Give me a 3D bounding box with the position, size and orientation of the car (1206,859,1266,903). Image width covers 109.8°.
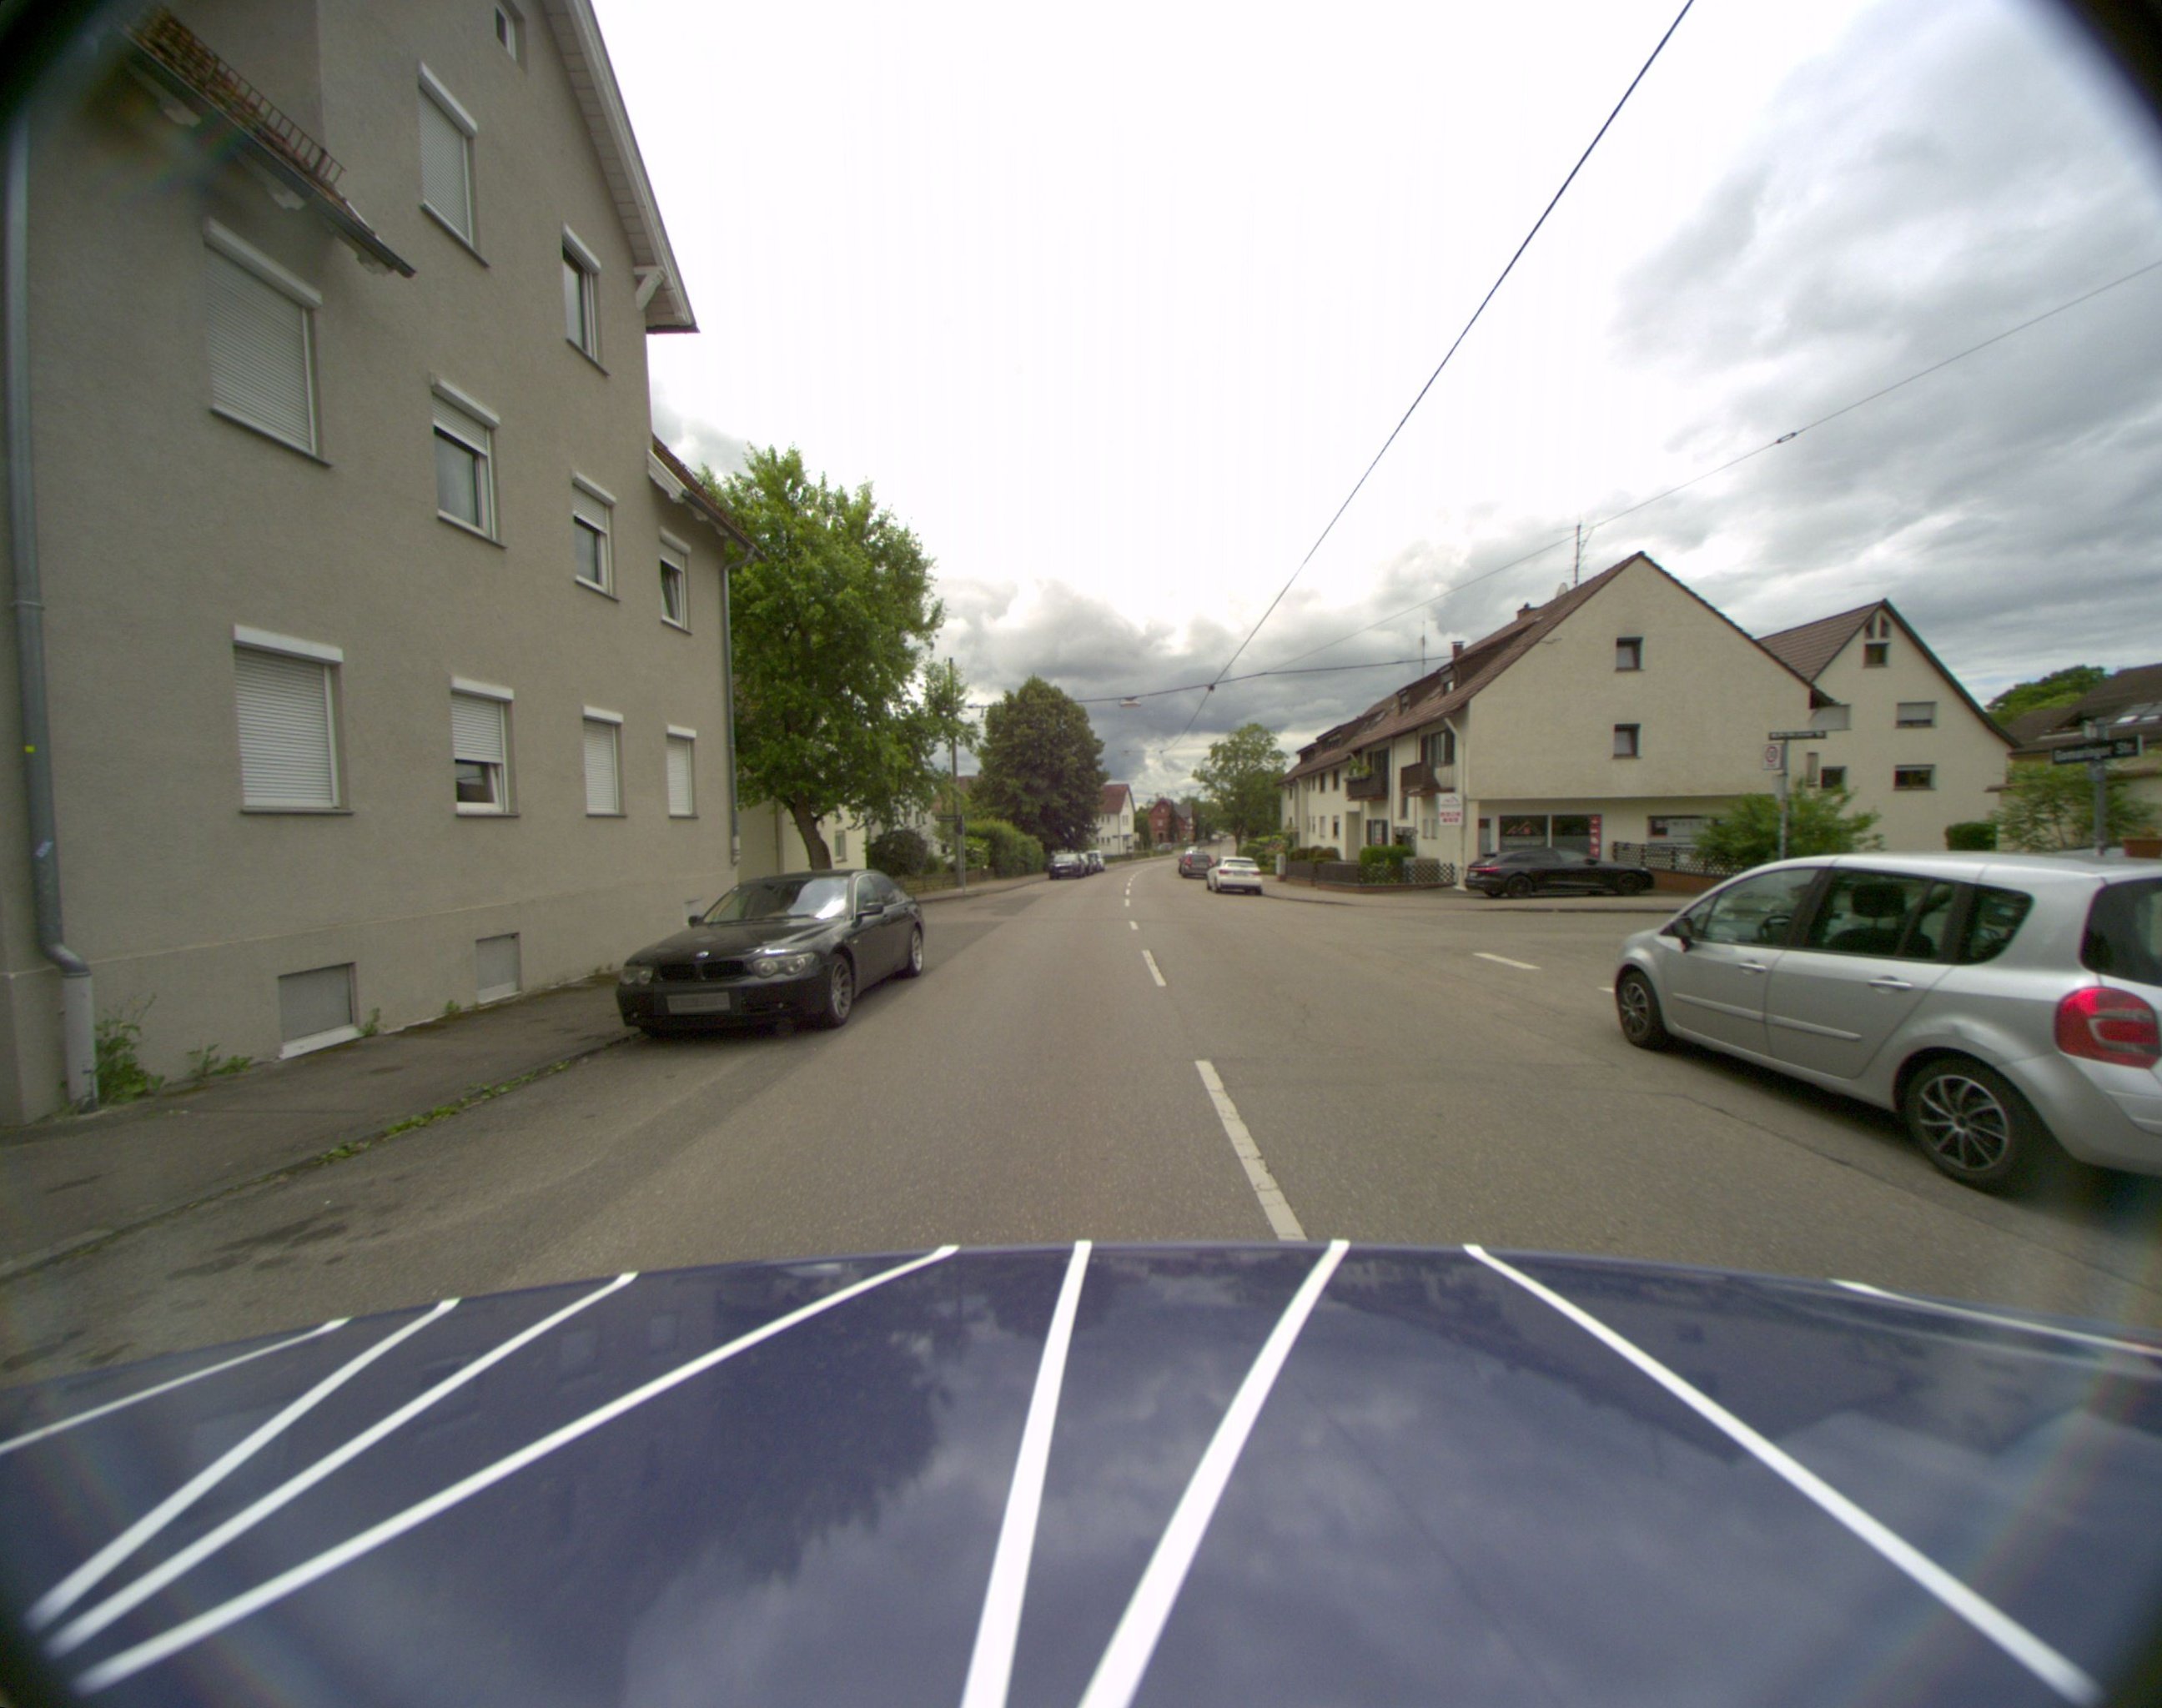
[{"bbox_3d":[5.985,1.008,29.721,1.730,1.450,3.899,3,1,4],"label":"car"}]

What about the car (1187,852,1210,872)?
[{"bbox_3d":[10.950,0.696,70.744,1.852,1.704,4.578,1,1,11],"label":"car"}]

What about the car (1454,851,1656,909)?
[{"bbox_3d":[13.586,0.725,22.028,4.527,1.464,2.001,-2,0,6],"label":"car"}]

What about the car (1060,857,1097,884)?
[{"bbox_3d":[-0.130,1.072,51.530,1.998,1.606,4.540,-2,1,6],"label":"car"}]

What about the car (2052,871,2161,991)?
[{"bbox_3d":[16.584,1.044,9.888,4.408,1.464,2.002,0,3,22],"label":"car"}]

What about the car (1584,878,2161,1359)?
[{"bbox_3d":[5.063,1.037,4.527,1.837,1.569,4.034,2,1,8],"label":"car"}]

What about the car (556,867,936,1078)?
[{"bbox_3d":[-3.186,1.007,8.608,1.998,1.509,4.891,-2,0,1],"label":"car"}]

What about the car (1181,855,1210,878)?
[{"bbox_3d":[8.004,0.861,53.470,1.766,1.430,4.079,3,1,6],"label":"car"}]

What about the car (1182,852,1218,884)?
[{"bbox_3d":[7.179,0.803,46.113,1.850,1.671,4.788,3,1,6],"label":"car"}]

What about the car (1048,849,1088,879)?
[{"bbox_3d":[-0.704,0.540,45.482,1.814,1.606,4.540,-2,1,6],"label":"car"}]

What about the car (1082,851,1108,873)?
[{"bbox_3d":[1.177,0.653,63.798,1.842,1.763,4.318,-3,0,4],"label":"car"}]
